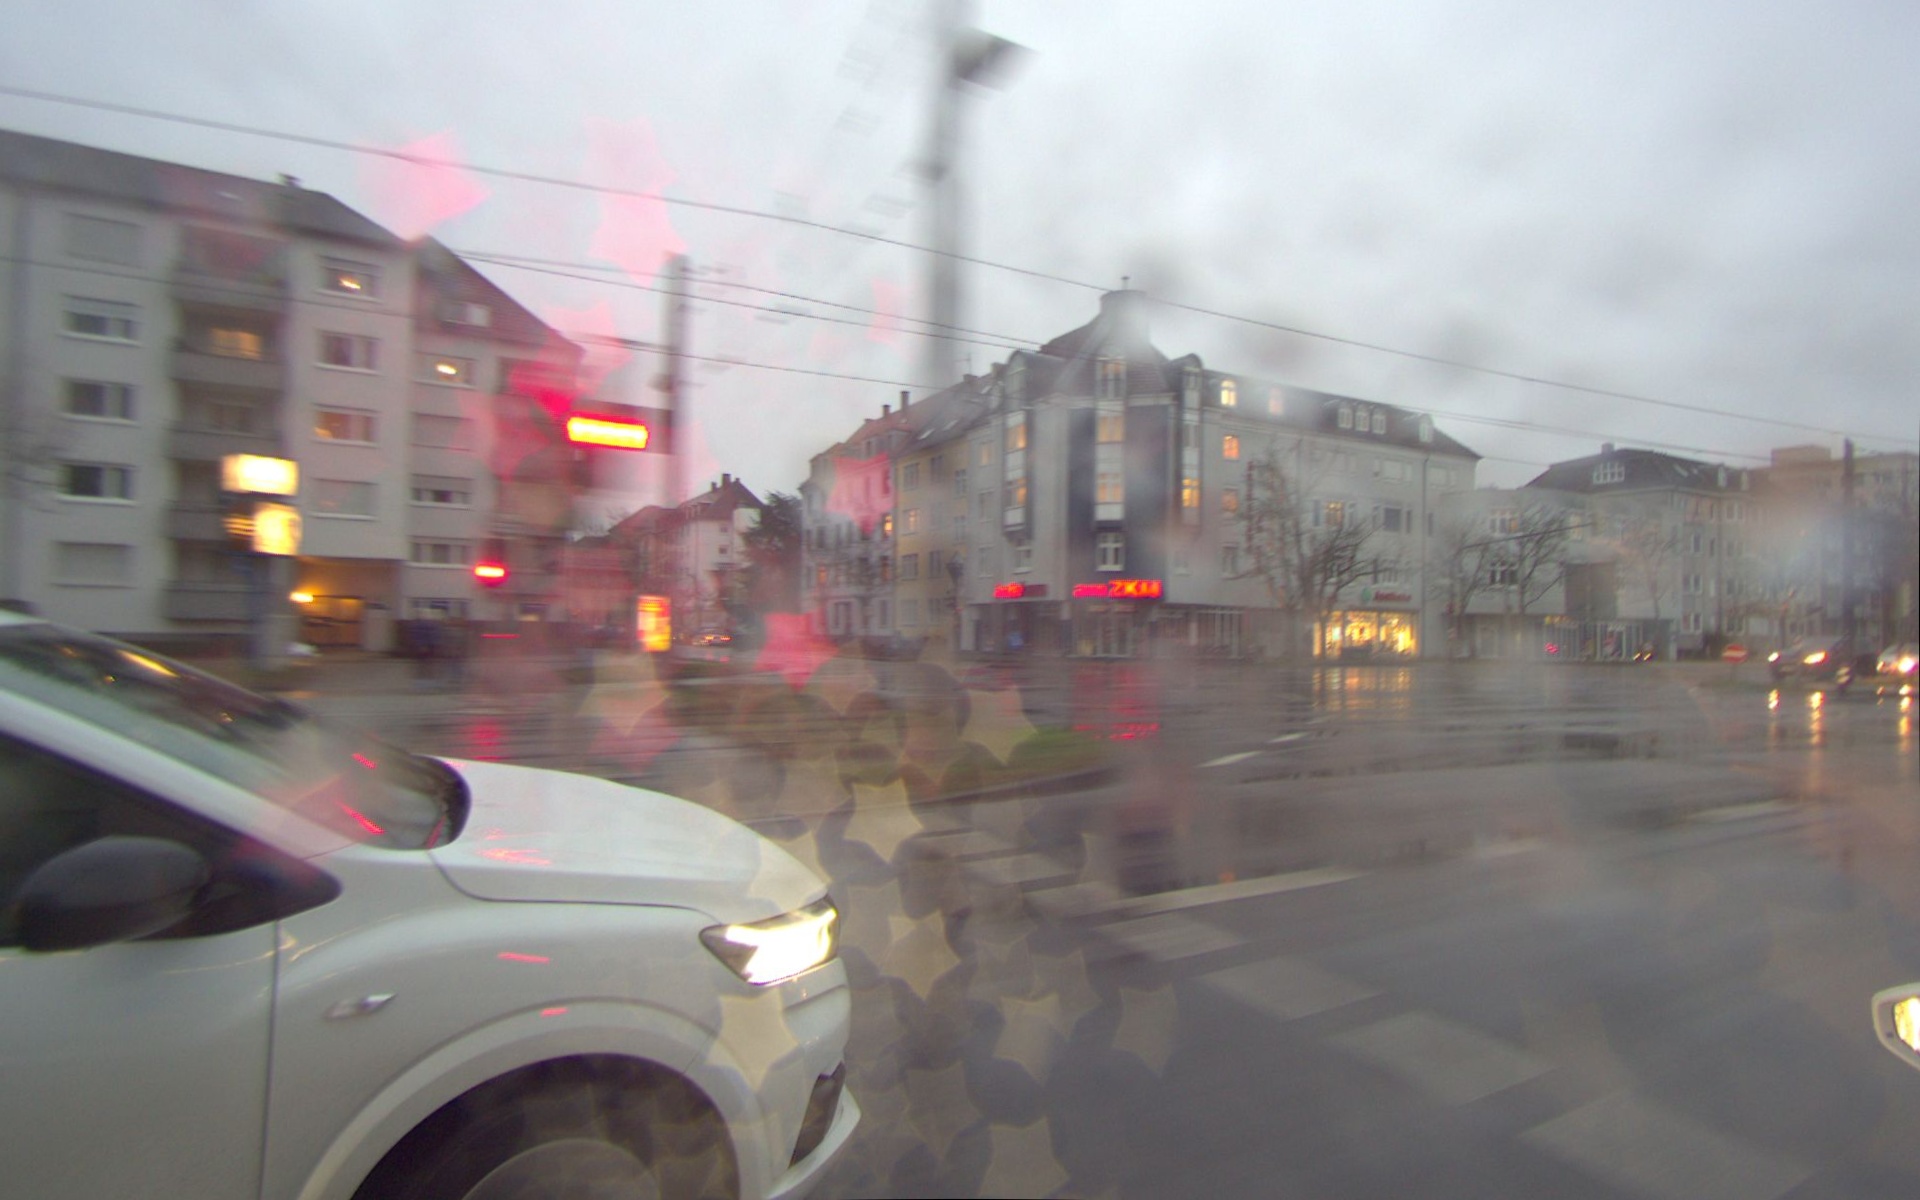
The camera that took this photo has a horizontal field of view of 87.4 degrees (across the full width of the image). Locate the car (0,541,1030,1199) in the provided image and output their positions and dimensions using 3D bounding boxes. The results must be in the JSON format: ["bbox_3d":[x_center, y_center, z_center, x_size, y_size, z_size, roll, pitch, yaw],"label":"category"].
[{"bbox_3d":[-1.973,0.644,1.948,3.957,1.485,1.698,3,-1,-33],"label":"car"}]

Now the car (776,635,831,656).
[{"bbox_3d":[-11.196,3.278,71.968,3.574,1.360,1.589,3,-1,-30],"label":"car"}]

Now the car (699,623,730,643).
[{"bbox_3d":[-18.847,2.506,76.970,1.662,1.365,3.513,3,-1,-24],"label":"car"}]

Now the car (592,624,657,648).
[{"bbox_3d":[-20.019,2.148,60.024,3.414,1.315,1.576,3,-1,-30],"label":"car"}]

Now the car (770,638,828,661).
[{"bbox_3d":[-10.989,3.383,68.630,3.574,1.360,1.589,3,-1,-30],"label":"car"}]

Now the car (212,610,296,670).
[{"bbox_3d":[-18.829,1.041,26.895,1.681,1.384,3.774,3,-1,-34],"label":"car"}]

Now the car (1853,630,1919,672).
[{"bbox_3d":[38.427,2.115,40.967,4.878,1.549,1.579,3,-1,-31],"label":"car"}]

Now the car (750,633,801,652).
[{"bbox_3d":[-13.956,3.214,76.103,3.448,1.308,1.589,3,-1,-30],"label":"car"}]

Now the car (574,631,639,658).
[{"bbox_3d":[-22.160,2.769,62.952,3.574,1.542,1.667,3,-1,-30],"label":"car"}]

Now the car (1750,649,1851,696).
[{"bbox_3d":[32.413,2.781,38.725,3.955,1.628,1.795,3,-1,-31],"label":"car"}]

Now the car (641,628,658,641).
[{"bbox_3d":[-30.416,3.355,98.421,1.153,1.161,2.453,3,-1,-26],"label":"car"}]

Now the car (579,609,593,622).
[{"bbox_3d":[-53.946,2.287,145.014,1.490,1.736,3.589,3,-1,-26],"label":"car"}]
